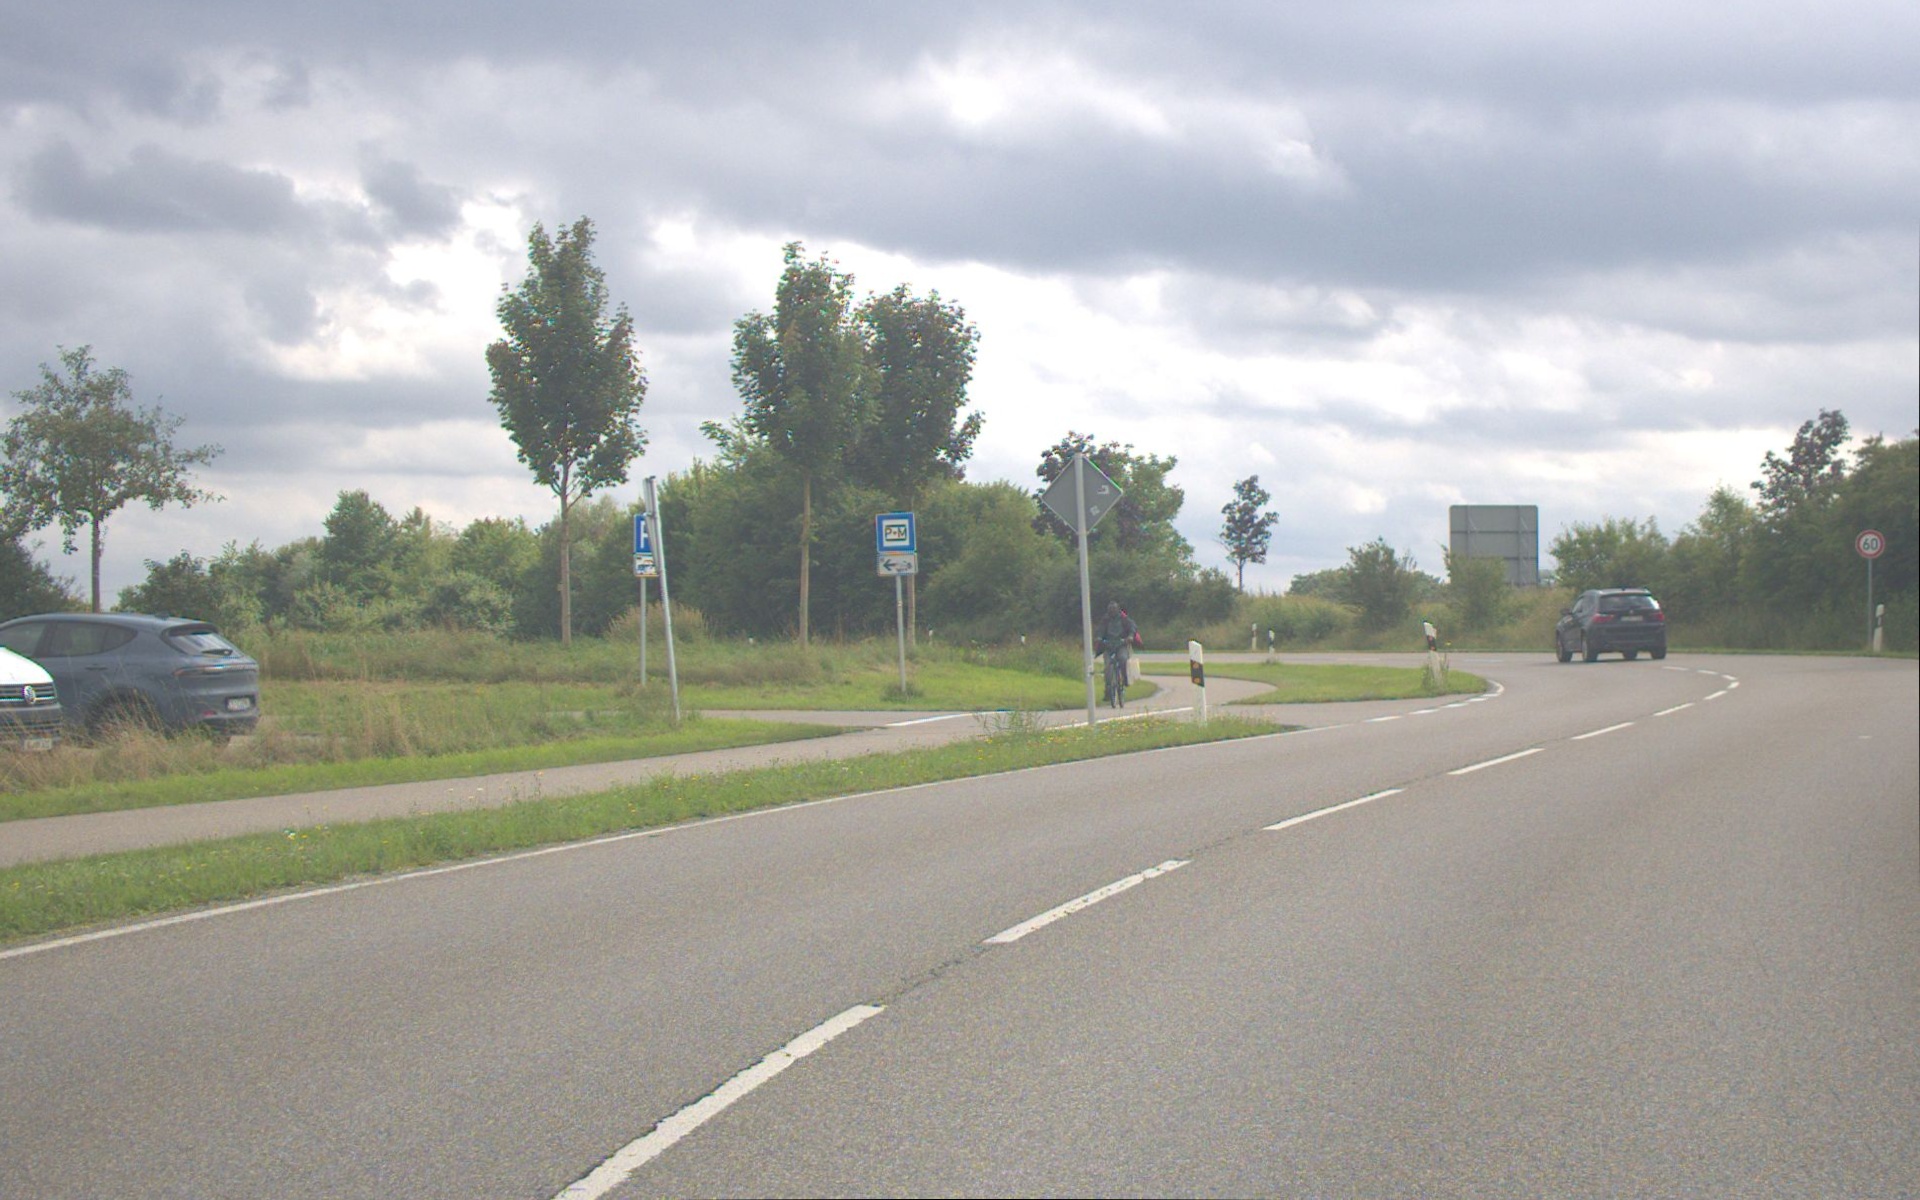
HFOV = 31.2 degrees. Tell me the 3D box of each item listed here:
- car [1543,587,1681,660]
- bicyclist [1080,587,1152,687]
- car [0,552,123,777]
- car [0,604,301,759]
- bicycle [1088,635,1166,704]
[{"bbox_3d":[15.217,0.540,80.428,1.906,1.661,4.001,0,0,-9],"label":"car"},{"bbox_3d":[2.468,0.577,54.378,0.831,1.560,1.054,-1,0,21],"label":"bicyclist"},{"bbox_3d":[-10.591,0.610,32.334,4.897,2.007,2.055,-1,0,16],"label":"car"},{"bbox_3d":[-9.503,0.875,37.077,4.251,1.589,1.998,-1,0,17],"label":"car"},{"bbox_3d":[2.658,1.097,54.633,0.636,1.028,2.188,-1,0,19],"label":"bicycle"}]
